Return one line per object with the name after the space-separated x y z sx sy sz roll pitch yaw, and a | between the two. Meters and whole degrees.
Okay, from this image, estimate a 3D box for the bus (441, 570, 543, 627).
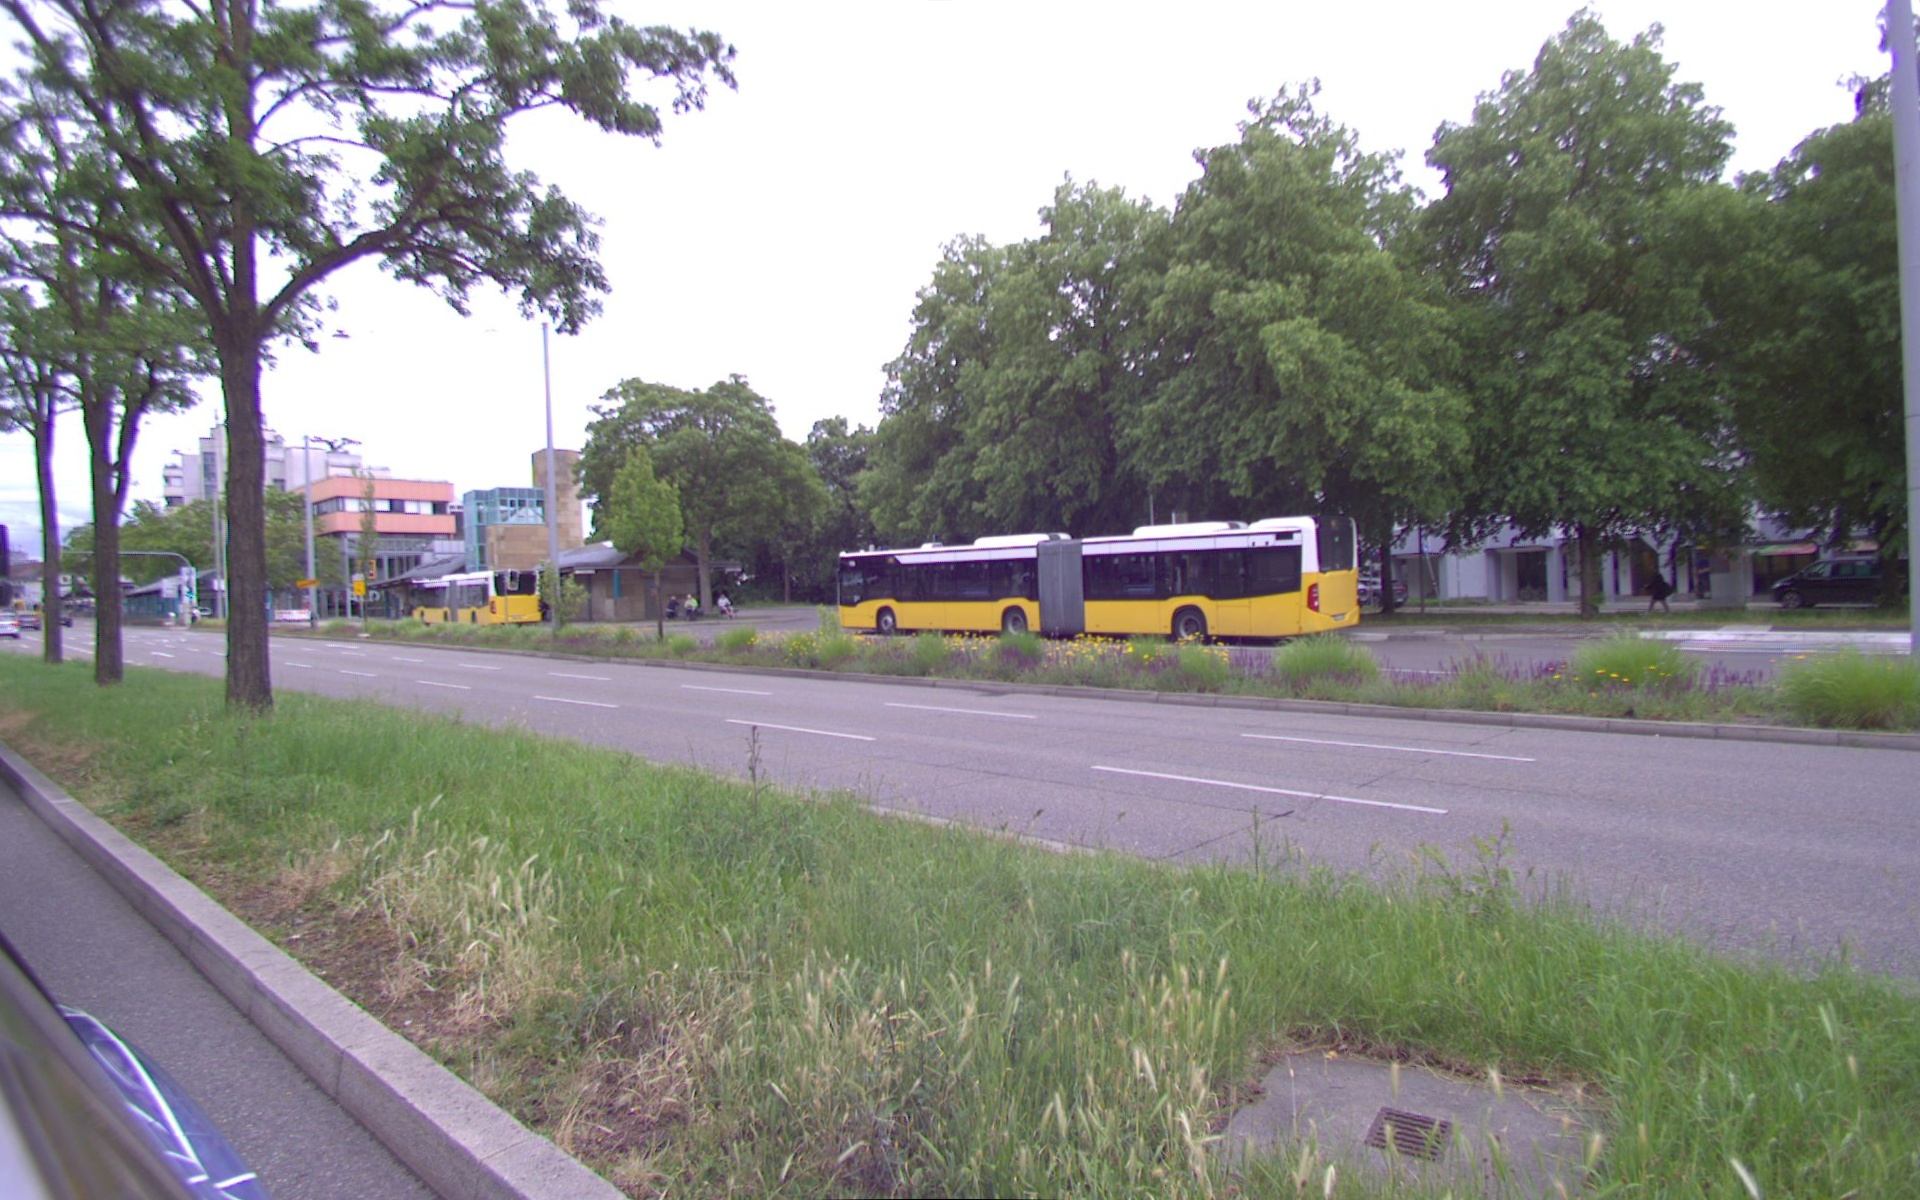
-25.716 -0.029 55.287 2.846 2.830 9.192 -1 0 -39 | bus

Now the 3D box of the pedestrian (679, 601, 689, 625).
-13.730 0.639 50.395 0.361 1.175 0.900 -1 0 -23 | pedestrian

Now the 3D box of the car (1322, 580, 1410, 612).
21.092 -0.187 52.727 1.730 1.524 4.012 -1 0 -29 | car

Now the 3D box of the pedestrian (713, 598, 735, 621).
-11.911 0.478 51.109 0.924 1.180 0.641 -1 0 41 | pedestrian

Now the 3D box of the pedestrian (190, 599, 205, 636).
-58.232 1.325 77.296 0.889 2.809 1.150 -1 0 -36 | pedestrian

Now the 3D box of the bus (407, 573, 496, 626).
-31.285 0.028 62.006 2.846 3.025 9.191 -1 0 -40 | bus

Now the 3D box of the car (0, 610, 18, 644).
-59.980 1.673 63.018 4.000 2.029 1.703 -1 0 43 | car

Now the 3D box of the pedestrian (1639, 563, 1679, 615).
21.489 -0.337 31.106 0.904 1.569 0.761 -2 0 41 | pedestrian

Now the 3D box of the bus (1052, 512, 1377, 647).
6.363 -0.420 26.475 2.849 3.025 7.889 -1 0 -44 | bus

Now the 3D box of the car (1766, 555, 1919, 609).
33.137 -0.628 37.789 1.758 1.861 4.429 -1 0 -35 | car

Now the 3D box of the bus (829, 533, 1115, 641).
-0.002 -0.302 33.074 2.848 3.025 10.401 -1 0 -44 | bus

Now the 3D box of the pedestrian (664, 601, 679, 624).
-14.830 0.653 52.000 0.590 1.171 0.745 -1 0 -31 | pedestrian

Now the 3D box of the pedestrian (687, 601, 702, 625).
-13.253 0.633 50.521 0.589 1.171 0.745 -1 0 -23 | pedestrian
